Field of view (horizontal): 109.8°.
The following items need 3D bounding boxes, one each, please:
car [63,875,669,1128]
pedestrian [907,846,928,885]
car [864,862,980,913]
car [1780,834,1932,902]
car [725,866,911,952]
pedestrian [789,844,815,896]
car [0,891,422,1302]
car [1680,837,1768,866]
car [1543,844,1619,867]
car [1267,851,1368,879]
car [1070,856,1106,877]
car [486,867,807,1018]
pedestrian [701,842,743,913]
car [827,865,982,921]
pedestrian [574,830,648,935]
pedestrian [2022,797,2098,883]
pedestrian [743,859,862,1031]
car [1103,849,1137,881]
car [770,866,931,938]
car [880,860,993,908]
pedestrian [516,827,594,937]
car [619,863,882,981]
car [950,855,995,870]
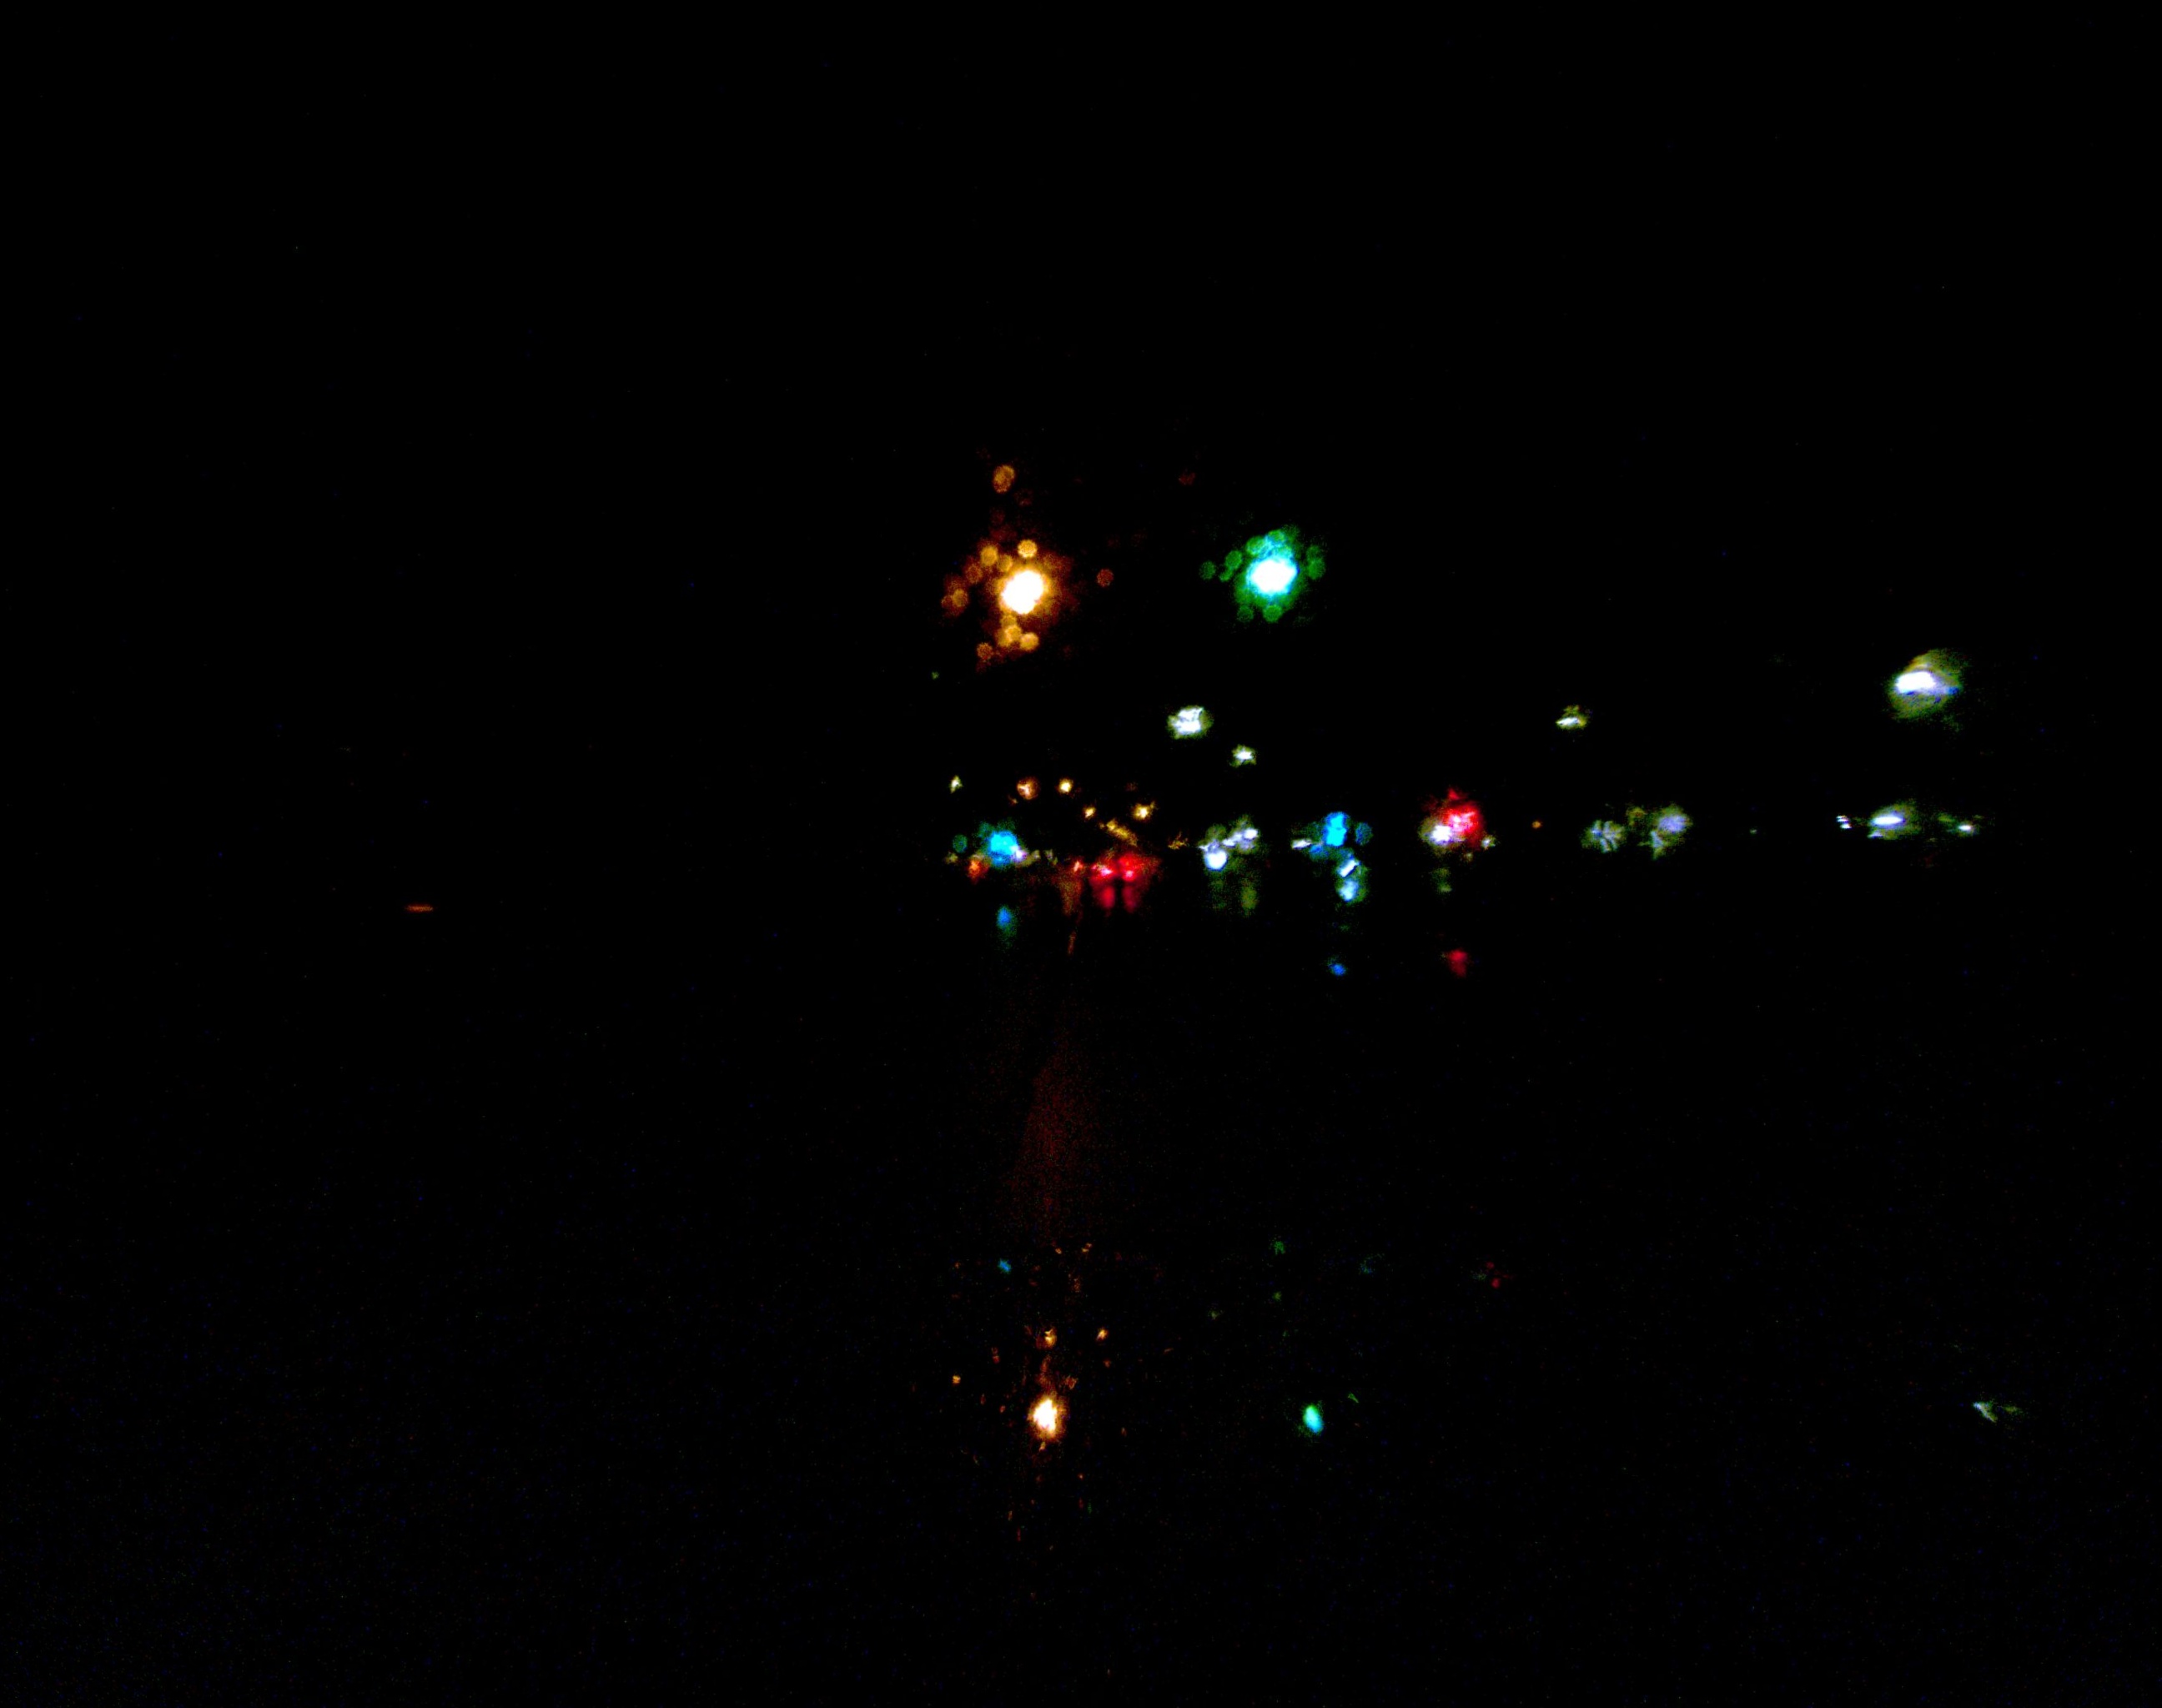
[{"bbox_3d":[-5.737,1.026,6.702,3.517,1.552,1.590,-1,0,-34],"label":"car"},{"bbox_3d":[-8.108,0.578,37.729,0.806,1.894,0.884,0,-2,1],"label":"pedestrian"},{"bbox_3d":[-5.254,1.053,25.163,3.403,1.583,1.590,0,0,-35],"label":"car"},{"bbox_3d":[21.471,0.363,21.270,1.696,1.717,4.007,0,0,26],"label":"car"},{"bbox_3d":[-5.582,1.090,16.212,3.403,1.552,1.634,-1,0,-35],"label":"car"},{"bbox_3d":[-8.964,0.528,24.440,0.575,1.654,0.601,0,-2,1],"label":"pedestrian"},{"bbox_3d":[-5.767,1.053,3.296,4.058,1.552,1.747,-1,0,-28],"label":"car"},{"bbox_3d":[41.514,-0.132,49.150,3.990,1.761,2.004,-1,0,28],"label":"car"},{"bbox_3d":[34.597,0.111,52.741,4.210,1.557,1.853,-1,0,27],"label":"car"},{"bbox_3d":[13.137,0.614,42.460,2.004,1.417,5.054,-1,0,-43],"label":"car"},{"bbox_3d":[0.495,0.895,55.226,1.829,1.417,4.202,-1,0,-10],"label":"car"},{"bbox_3d":[-5.582,1.000,9.969,3.403,1.552,1.590,-1,0,-36],"label":"car"},{"bbox_3d":[-9.086,0.595,19.235,0.657,1.779,0.784,0,-2,1],"label":"pedestrian"},{"bbox_3d":[-5.093,1.067,22.209,4.123,1.483,1.590,0,0,-36],"label":"car"},{"bbox_3d":[-8.462,0.516,13.713,0.747,1.829,0.871,0,-2,1],"label":"pedestrian"},{"bbox_3d":[19.565,-0.277,15.193,0.630,1.666,0.791,-3,1,-26],"label":"pedestrian"},{"bbox_3d":[-3.060,0.949,8.469,0.824,1.760,1.177,-1,0,1],"label":"pedestrian"},{"bbox_3d":[2.254,0.624,44.661,1.810,1.759,4.272,-2,0,1],"label":"car"},{"bbox_3d":[-5.684,1.114,18.837,3.488,1.552,1.633,-1,0,-32],"label":"car"},{"bbox_3d":[-5.238,1.043,27.680,3.607,1.552,1.707,-1,0,-37],"label":"car"},{"bbox_3d":[-9.299,0.491,13.460,0.747,1.892,0.843,0,-2,1],"label":"pedestrian"},{"bbox_3d":[-5.497,1.011,12.795,3.808,1.679,1.832,0,0,-29],"label":"car"},{"bbox_3d":[-10.384,0.805,72.668,4.194,1.417,1.628,-1,0,35],"label":"car"}]
